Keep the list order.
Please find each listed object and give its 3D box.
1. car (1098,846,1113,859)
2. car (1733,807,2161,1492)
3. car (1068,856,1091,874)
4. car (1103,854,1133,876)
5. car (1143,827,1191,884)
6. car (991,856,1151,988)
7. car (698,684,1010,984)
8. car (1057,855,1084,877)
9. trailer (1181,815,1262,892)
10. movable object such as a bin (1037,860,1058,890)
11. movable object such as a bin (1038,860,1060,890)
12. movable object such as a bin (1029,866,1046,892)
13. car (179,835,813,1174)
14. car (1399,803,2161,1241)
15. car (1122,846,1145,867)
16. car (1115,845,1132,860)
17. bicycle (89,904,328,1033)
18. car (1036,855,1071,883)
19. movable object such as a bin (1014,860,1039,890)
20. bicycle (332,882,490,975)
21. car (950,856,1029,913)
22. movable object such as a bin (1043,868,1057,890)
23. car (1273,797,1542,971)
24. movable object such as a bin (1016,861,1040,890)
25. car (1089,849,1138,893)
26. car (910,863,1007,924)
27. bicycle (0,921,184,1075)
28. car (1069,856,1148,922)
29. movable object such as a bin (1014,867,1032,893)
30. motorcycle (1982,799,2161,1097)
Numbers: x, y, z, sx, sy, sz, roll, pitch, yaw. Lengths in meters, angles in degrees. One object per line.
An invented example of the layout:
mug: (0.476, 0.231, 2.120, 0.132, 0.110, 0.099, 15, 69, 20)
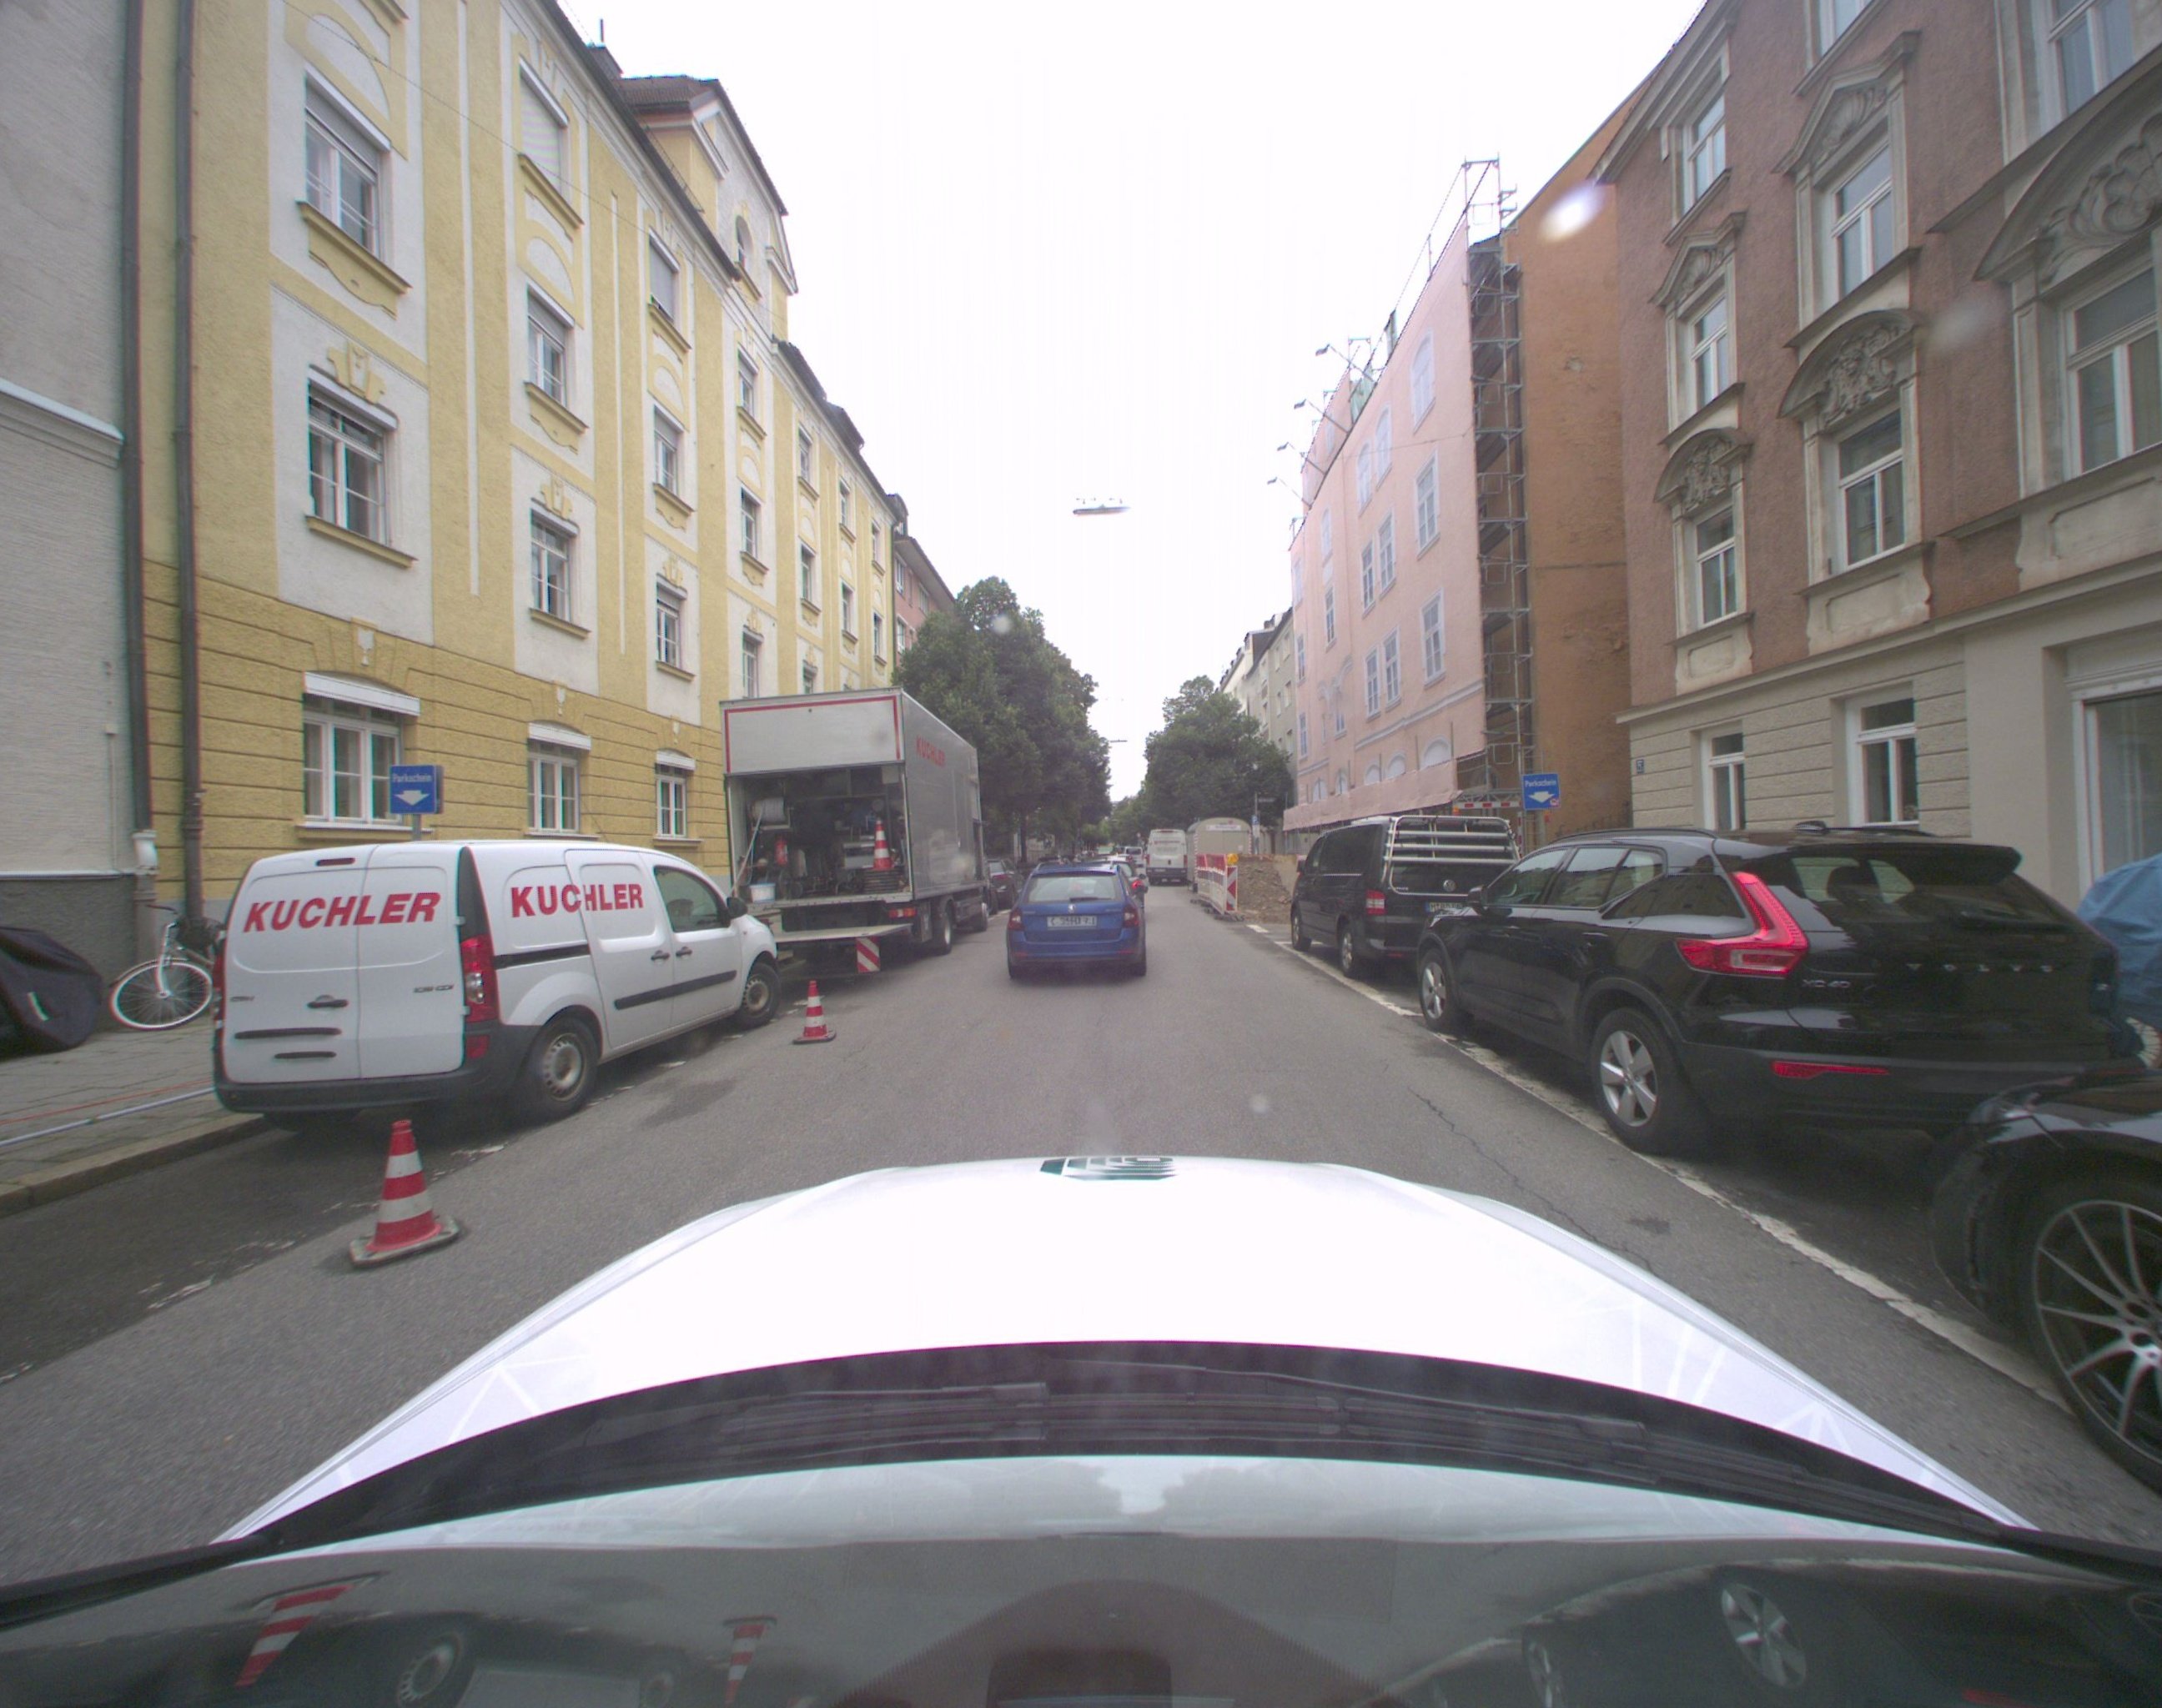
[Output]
car: (3.289, -0.202, 109.365, 2.001, 1.653, 4.348, -1, 0, 1)
car: (3.336, 0.651, 0.241, 1.923, 1.553, 5.640, -1, 0, 2)
car: (-0.097, 0.922, 70.529, 1.805, 1.478, 4.003, -1, 0, 3)
car: (2.483, 0.710, 54.868, 1.861, 1.348, 4.347, -1, 0, 0)
car: (4.401, 0.111, 40.928, 2.100, 2.664, 5.513, -1, -1, 9)
car: (0.030, 0.790, 11.491, 1.781, 1.460, 4.319, -2, 0, 4)
car: (-3.360, -0.241, 15.007, 2.801, 3.817, 8.729, -2, 0, 3)
car: (-0.701, 0.816, 58.494, 1.806, 1.478, 4.001, -1, 0, 1)
trailer: (5.655, 0.026, 33.775, 2.492, 2.840, 6.906, -1, -1, 3)
movable object such as a bin: (-1.649, 1.033, 39.950, 0.915, 1.376, 1.079, -4, 0, -1)
movable object such as a bin: (-1.602, 1.048, 41.048, 1.017, 1.376, 1.103, -4, 0, -1)
movable object such as a bin: (-2.101, 1.195, 39.050, 0.709, 1.148, 0.636, -4, 0, -1)
car: (-3.969, 0.845, 6.666, 1.755, 1.779, 4.331, -4, 0, 4)
car: (3.682, 0.668, 5.405, 1.686, 1.676, 4.412, 1, 0, 4)
car: (4.835, 0.178, 75.332, 1.861, 1.870, 4.348, -1, 0, 1)
car: (4.684, -0.155, 89.749, 1.859, 1.653, 4.351, -1, 0, 3)
bicycle: (-8.978, 1.123, 8.501, 0.504, 1.104, 1.767, 1, -1, 2)
car: (-1.581, 0.849, 47.779, 1.806, 1.478, 4.001, -1, 0, 1)
movable object such as a bin: (-2.645, 1.032, 39.904, 1.078, 1.376, 1.083, -4, 0, -1)
bicycle: (-8.958, 0.956, 10.996, 0.605, 1.104, 1.767, -2, -1, 2)
car: (-2.890, 0.914, 26.667, 1.777, 1.628, 4.189, -3, 0, 4)
movable object such as a bin: (-1.482, 1.196, 39.088, 0.545, 1.020, 0.636, -4, 0, -1)
car: (4.218, 0.443, 11.629, 2.073, 1.921, 5.145, -1, -3, 4)
movable object such as a bin: (-2.658, 1.059, 41.006, 1.054, 1.376, 1.095, -4, 0, -1)
car: (1.338, 0.635, 33.271, 1.860, 1.696, 4.350, -1, 0, 2)
car: (-3.189, 0.995, 21.863, 1.691, 1.409, 3.713, -2, 0, 5)
bicycle: (-8.725, 1.185, 6.887, 0.400, 1.104, 1.859, -1, -1, -7)
car: (0.722, 0.787, 19.872, 1.733, 1.422, 3.667, -1, 0, 3)
movable object such as a bin: (-2.767, 1.239, 39.019, 0.718, 1.138, 0.658, -4, 0, -1)
motorcycle: (5.869, 0.465, 3.941, 0.867, 1.505, 2.000, -2, 0, 5)
